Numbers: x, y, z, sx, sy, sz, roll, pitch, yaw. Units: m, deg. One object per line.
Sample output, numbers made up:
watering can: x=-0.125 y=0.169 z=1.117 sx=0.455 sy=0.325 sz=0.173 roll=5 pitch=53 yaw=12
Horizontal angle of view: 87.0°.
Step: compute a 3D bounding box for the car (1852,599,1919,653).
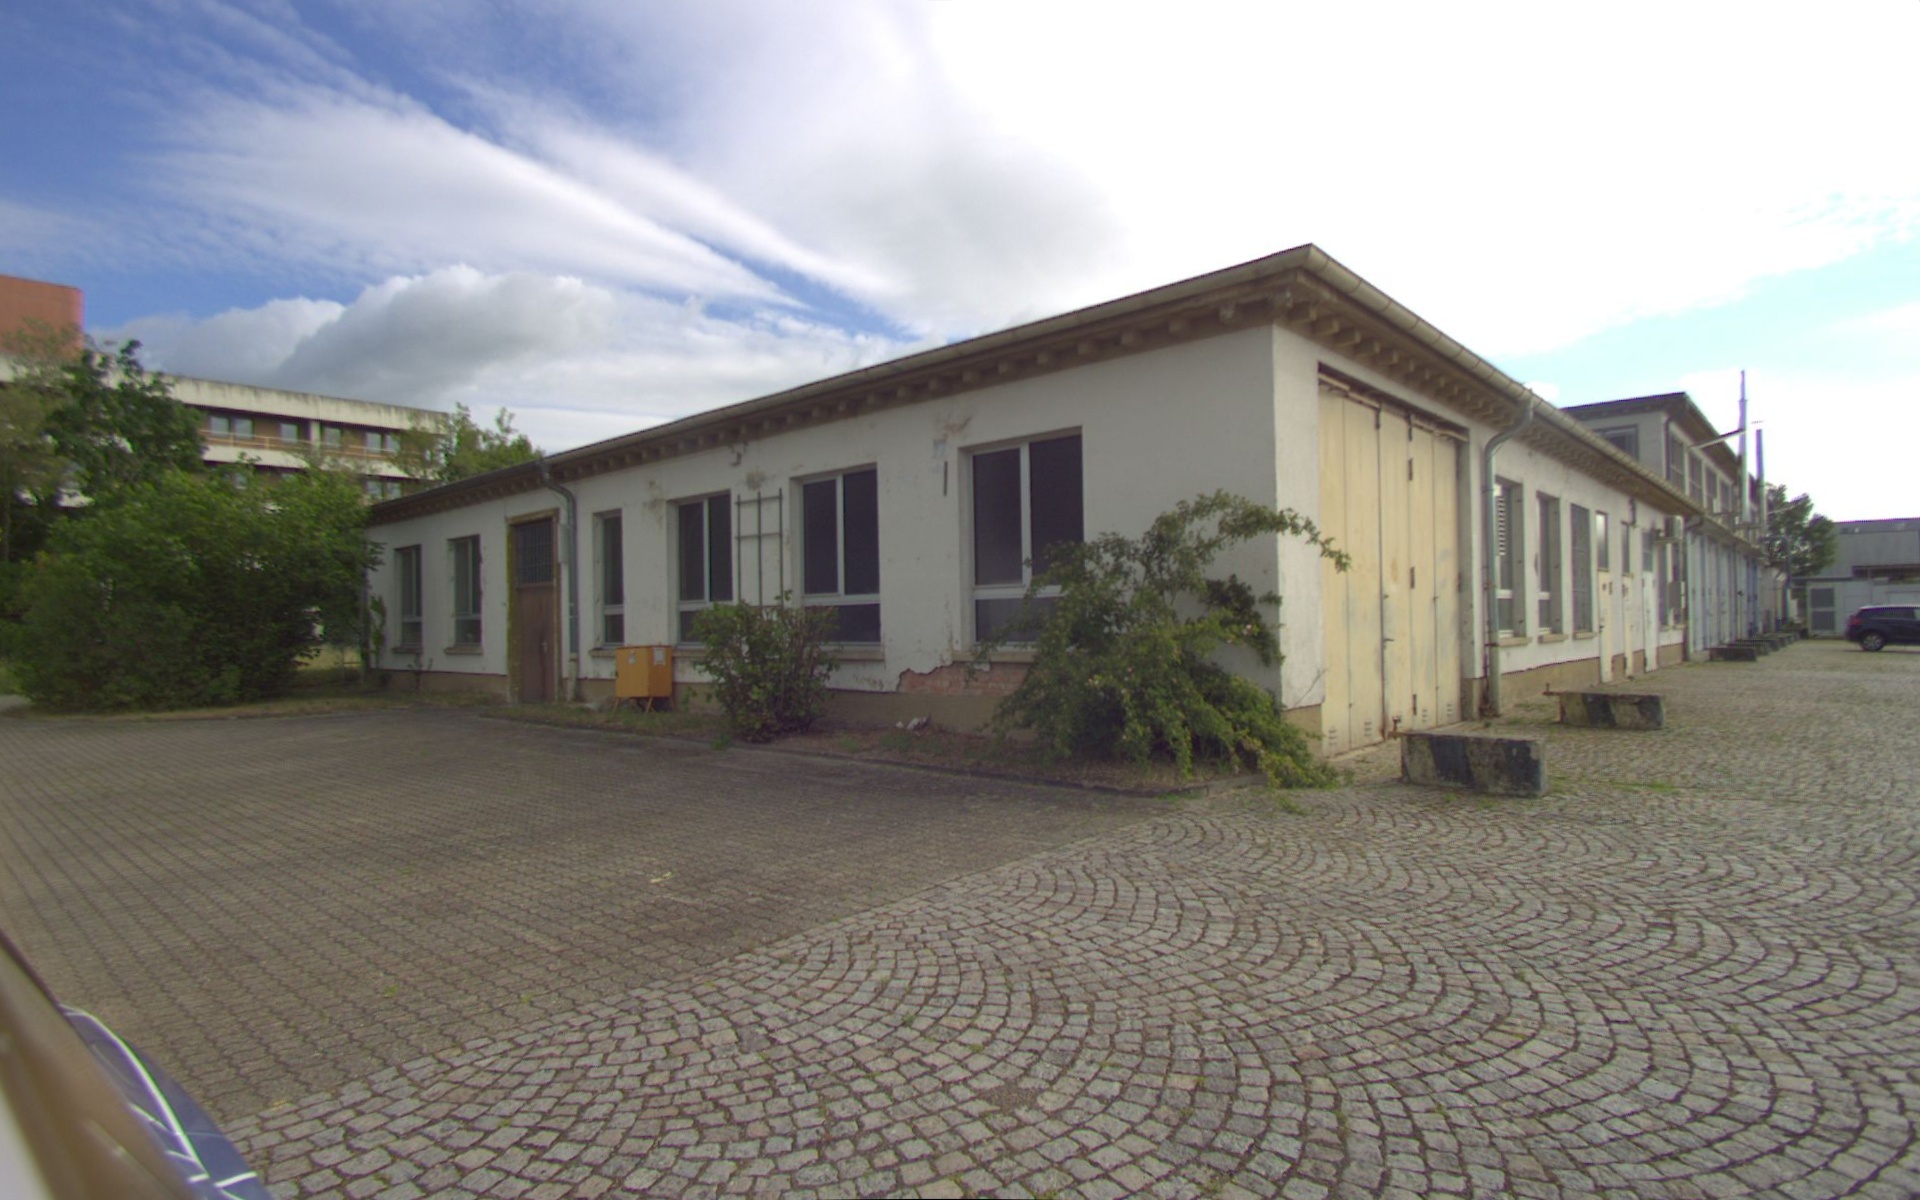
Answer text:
car: x=32.992 y=0.887 z=34.049 sx=4.435 sy=1.770 sz=1.972 roll=-2 pitch=-5 yaw=42
